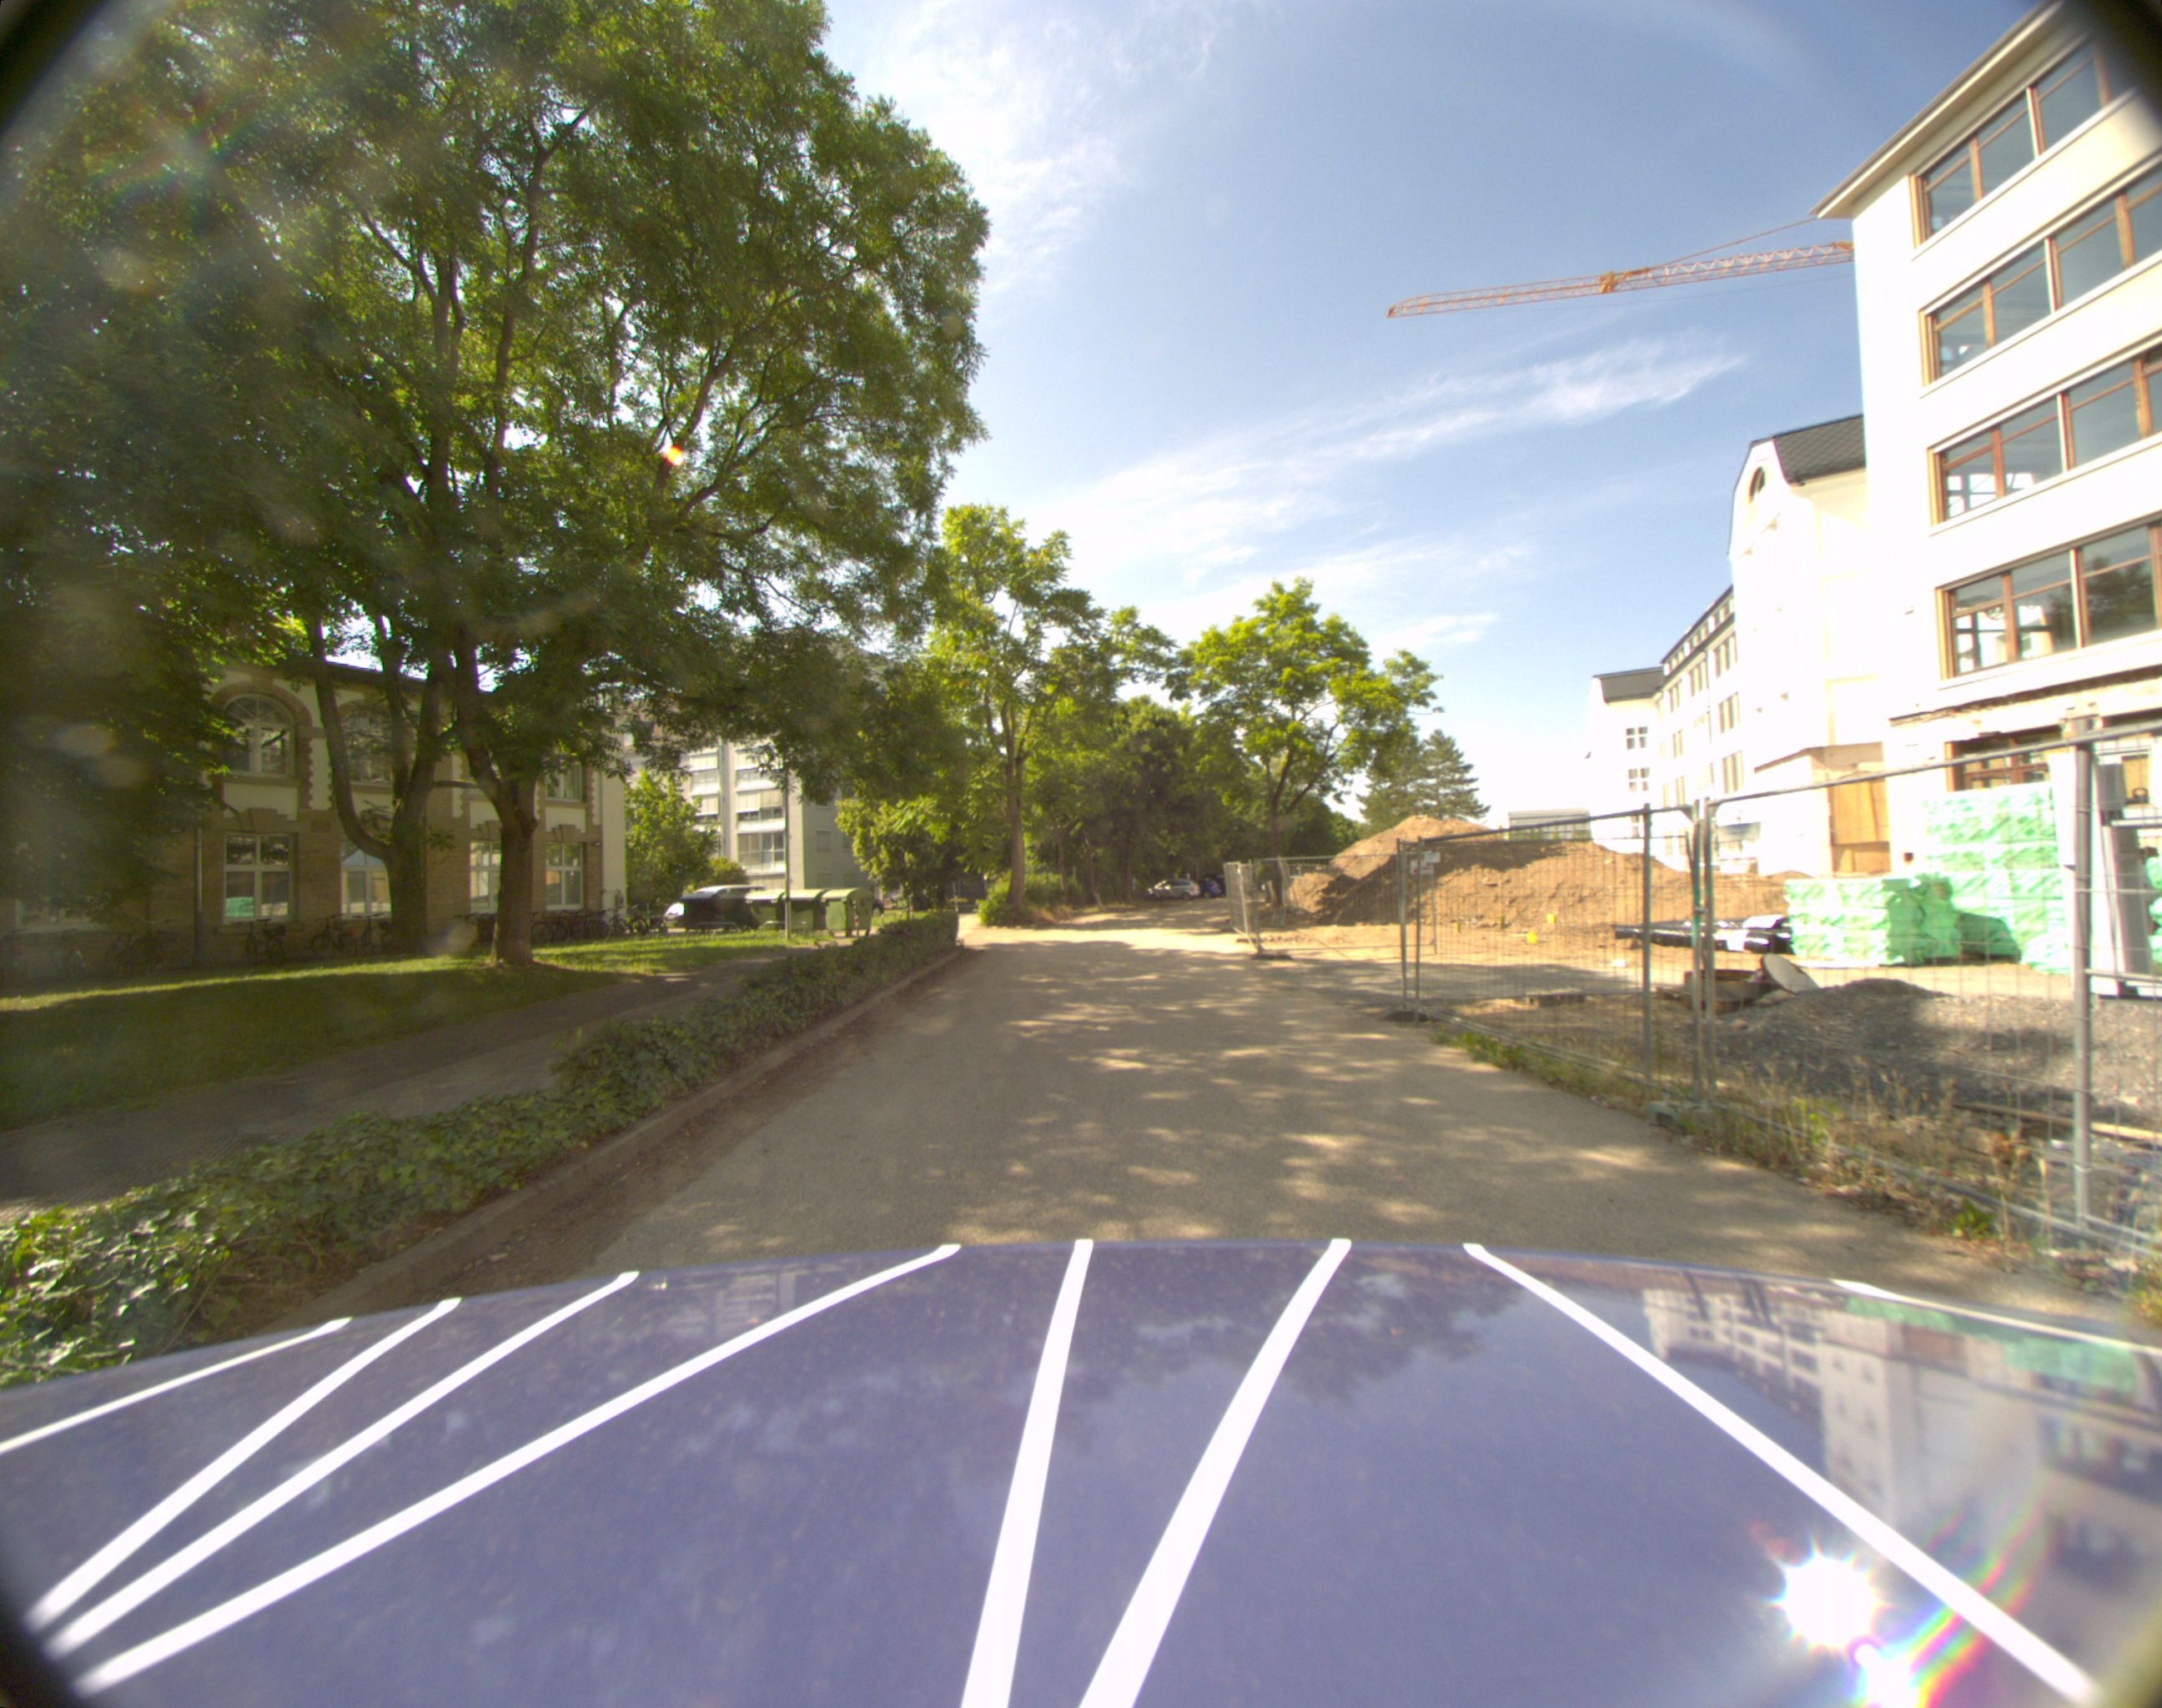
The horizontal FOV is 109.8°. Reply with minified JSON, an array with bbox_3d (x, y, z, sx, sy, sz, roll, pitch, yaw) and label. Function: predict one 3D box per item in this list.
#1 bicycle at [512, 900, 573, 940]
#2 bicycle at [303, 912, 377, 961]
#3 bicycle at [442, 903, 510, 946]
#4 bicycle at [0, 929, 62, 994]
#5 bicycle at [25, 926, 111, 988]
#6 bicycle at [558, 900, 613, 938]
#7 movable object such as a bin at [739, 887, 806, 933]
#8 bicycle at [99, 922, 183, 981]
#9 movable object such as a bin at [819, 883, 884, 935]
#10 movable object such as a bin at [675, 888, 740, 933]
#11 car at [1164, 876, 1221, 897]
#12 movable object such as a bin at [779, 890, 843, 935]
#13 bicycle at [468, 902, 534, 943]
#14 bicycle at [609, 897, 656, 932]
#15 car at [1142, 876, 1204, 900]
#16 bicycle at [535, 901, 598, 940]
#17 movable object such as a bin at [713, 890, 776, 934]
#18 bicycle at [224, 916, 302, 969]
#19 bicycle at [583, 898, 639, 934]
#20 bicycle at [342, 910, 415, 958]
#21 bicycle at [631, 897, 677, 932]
[{"bbox_3d":[-16.401,2.014,23.142,1.917,1.154,0.589,-3,-1,24],"label":"bicycle"},{"bbox_3d":[-18.480,2.049,18.944,2.097,1.154,0.589,-3,-1,24],"label":"bicycle"},{"bbox_3d":[-17.180,2.003,21.555,2.097,1.154,0.589,-3,-1,24],"label":"bicycle"},{"bbox_3d":[-20.503,2.044,14.641,2.097,1.154,0.589,-3,-1,24],"label":"bicycle"},{"bbox_3d":[-20.358,2.042,15.260,2.097,1.154,0.589,-3,-1,24],"label":"bicycle"},{"bbox_3d":[-15.897,2.096,24.368,1.909,1.154,0.495,-3,-1,24],"label":"bicycle"},{"bbox_3d":[-9.635,1.743,23.758,1.499,1.353,1.217,-2,-1,21],"label":"movable object such as a bin"},{"bbox_3d":[-19.914,2.047,16.084,2.097,1.154,0.589,-3,-1,24],"label":"bicycle"},{"bbox_3d":[-6.852,1.623,22.656,1.389,1.454,1.218,-3,-1,36],"label":"movable object such as a bin"},{"bbox_3d":[-12.365,1.857,25.171,1.433,1.401,1.252,-2,-1,20],"label":"movable object such as a bin"},{"bbox_3d":[8.635,2.516,58.779,3.991,1.433,2.003,-2,-2,19],"label":"car"},{"bbox_3d":[-8.242,1.787,23.225,1.352,1.292,1.217,-2,-1,21],"label":"movable object such as a bin"},{"bbox_3d":[-16.953,1.999,22.189,2.097,1.154,0.589,-3,-1,24],"label":"bicycle"},{"bbox_3d":[-15.180,2.043,25.703,1.800,1.154,0.508,-3,-1,29],"label":"bicycle"},{"bbox_3d":[6.518,2.408,53.817,3.991,1.499,2.003,-2,-2,19],"label":"car"},{"bbox_3d":[-16.154,2.076,23.854,2.097,1.154,0.589,-3,-1,24],"label":"bicycle"},{"bbox_3d":[-10.892,1.860,24.624,1.349,1.341,1.217,-2,-1,21],"label":"movable object such as a bin"},{"bbox_3d":[-19.080,2.048,17.717,2.097,1.154,0.589,-3,-1,24],"label":"bicycle"},{"bbox_3d":[-15.588,2.051,25.176,1.847,1.154,0.614,-3,-1,24],"label":"bicycle"},{"bbox_3d":[-18.192,2.053,19.665,2.097,1.154,0.589,-3,-1,24],"label":"bicycle"},{"bbox_3d":[-14.708,2.072,26.141,1.940,1.154,0.558,-3,-1,34],"label":"bicycle"}]
